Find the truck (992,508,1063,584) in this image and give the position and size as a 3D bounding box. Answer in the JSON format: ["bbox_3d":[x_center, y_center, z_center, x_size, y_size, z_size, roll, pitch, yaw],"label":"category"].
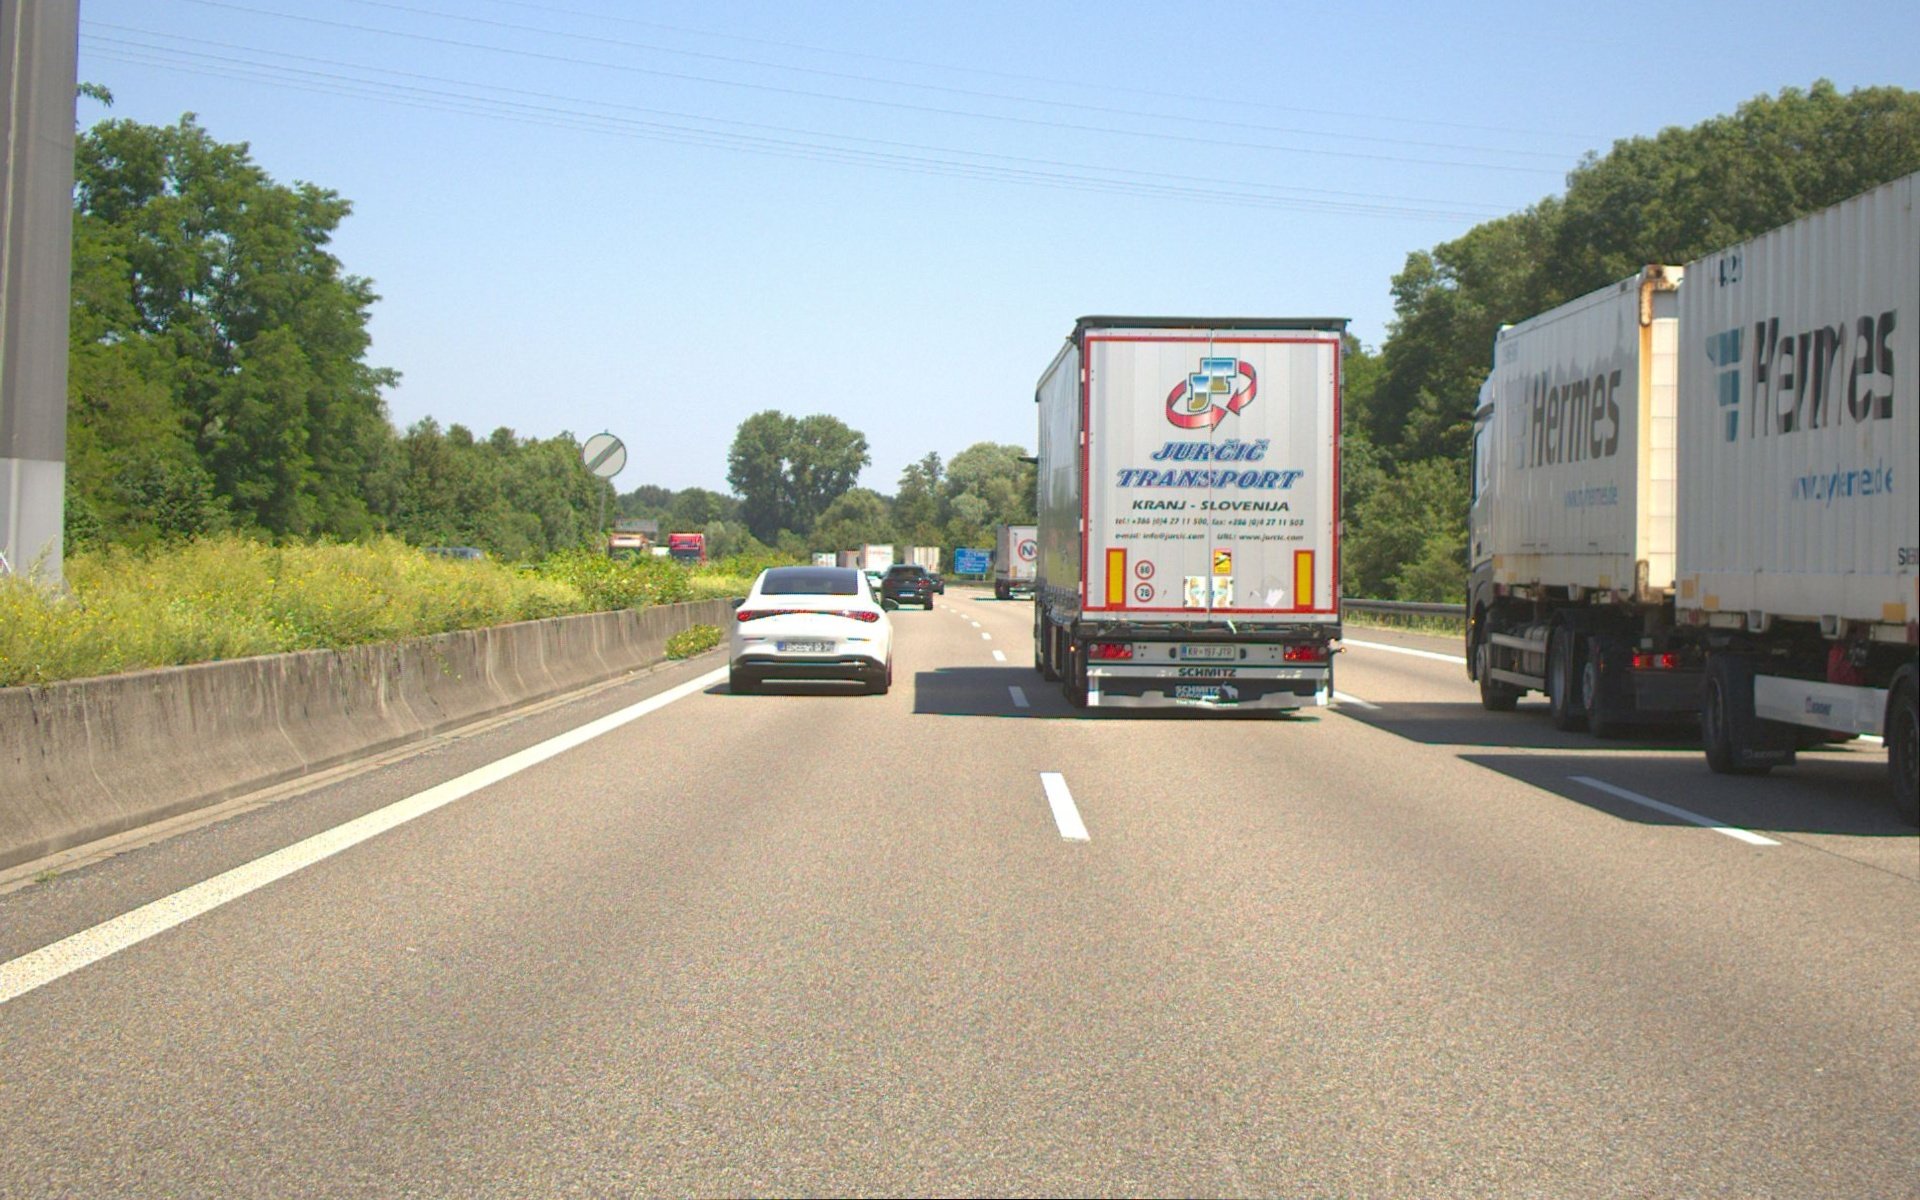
[{"bbox_3d":[3.631,-2.919,187.295,3.444,3.976,9.516,1,1,-1],"label":"truck"}]

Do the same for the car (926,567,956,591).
[{"bbox_3d":[-1.270,-1.399,229.814,1.993,1.590,4.000,1,1,0],"label":"car"}]

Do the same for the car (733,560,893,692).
[{"bbox_3d":[-1.704,0.257,40.863,1.767,1.443,5.109,1,1,-1],"label":"car"}]

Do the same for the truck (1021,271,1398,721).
[{"bbox_3d":[2.430,-1.038,36.676,3.229,4.188,8.466,1,1,-1],"label":"truck"}]

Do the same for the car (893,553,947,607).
[{"bbox_3d":[-1.554,-0.783,131.222,1.993,1.867,4.001,1,2,-1],"label":"car"}]

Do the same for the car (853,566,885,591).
[{"bbox_3d":[-5.924,-1.387,223.960,1.993,1.590,4.000,1,1,0],"label":"car"}]

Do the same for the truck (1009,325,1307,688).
[{"bbox_3d":[2.353,-1.132,43.279,3.218,4.190,6.551,1,1,-1],"label":"truck"}]

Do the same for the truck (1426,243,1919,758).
[{"bbox_3d":[6.943,-0.832,32.777,3.325,4.039,10.954,1,1,-1],"label":"truck"}]

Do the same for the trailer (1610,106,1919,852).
[{"bbox_3d":[6.975,-0.728,23.137,3.367,4.128,9.092,1,1,0],"label":"trailer"}]
